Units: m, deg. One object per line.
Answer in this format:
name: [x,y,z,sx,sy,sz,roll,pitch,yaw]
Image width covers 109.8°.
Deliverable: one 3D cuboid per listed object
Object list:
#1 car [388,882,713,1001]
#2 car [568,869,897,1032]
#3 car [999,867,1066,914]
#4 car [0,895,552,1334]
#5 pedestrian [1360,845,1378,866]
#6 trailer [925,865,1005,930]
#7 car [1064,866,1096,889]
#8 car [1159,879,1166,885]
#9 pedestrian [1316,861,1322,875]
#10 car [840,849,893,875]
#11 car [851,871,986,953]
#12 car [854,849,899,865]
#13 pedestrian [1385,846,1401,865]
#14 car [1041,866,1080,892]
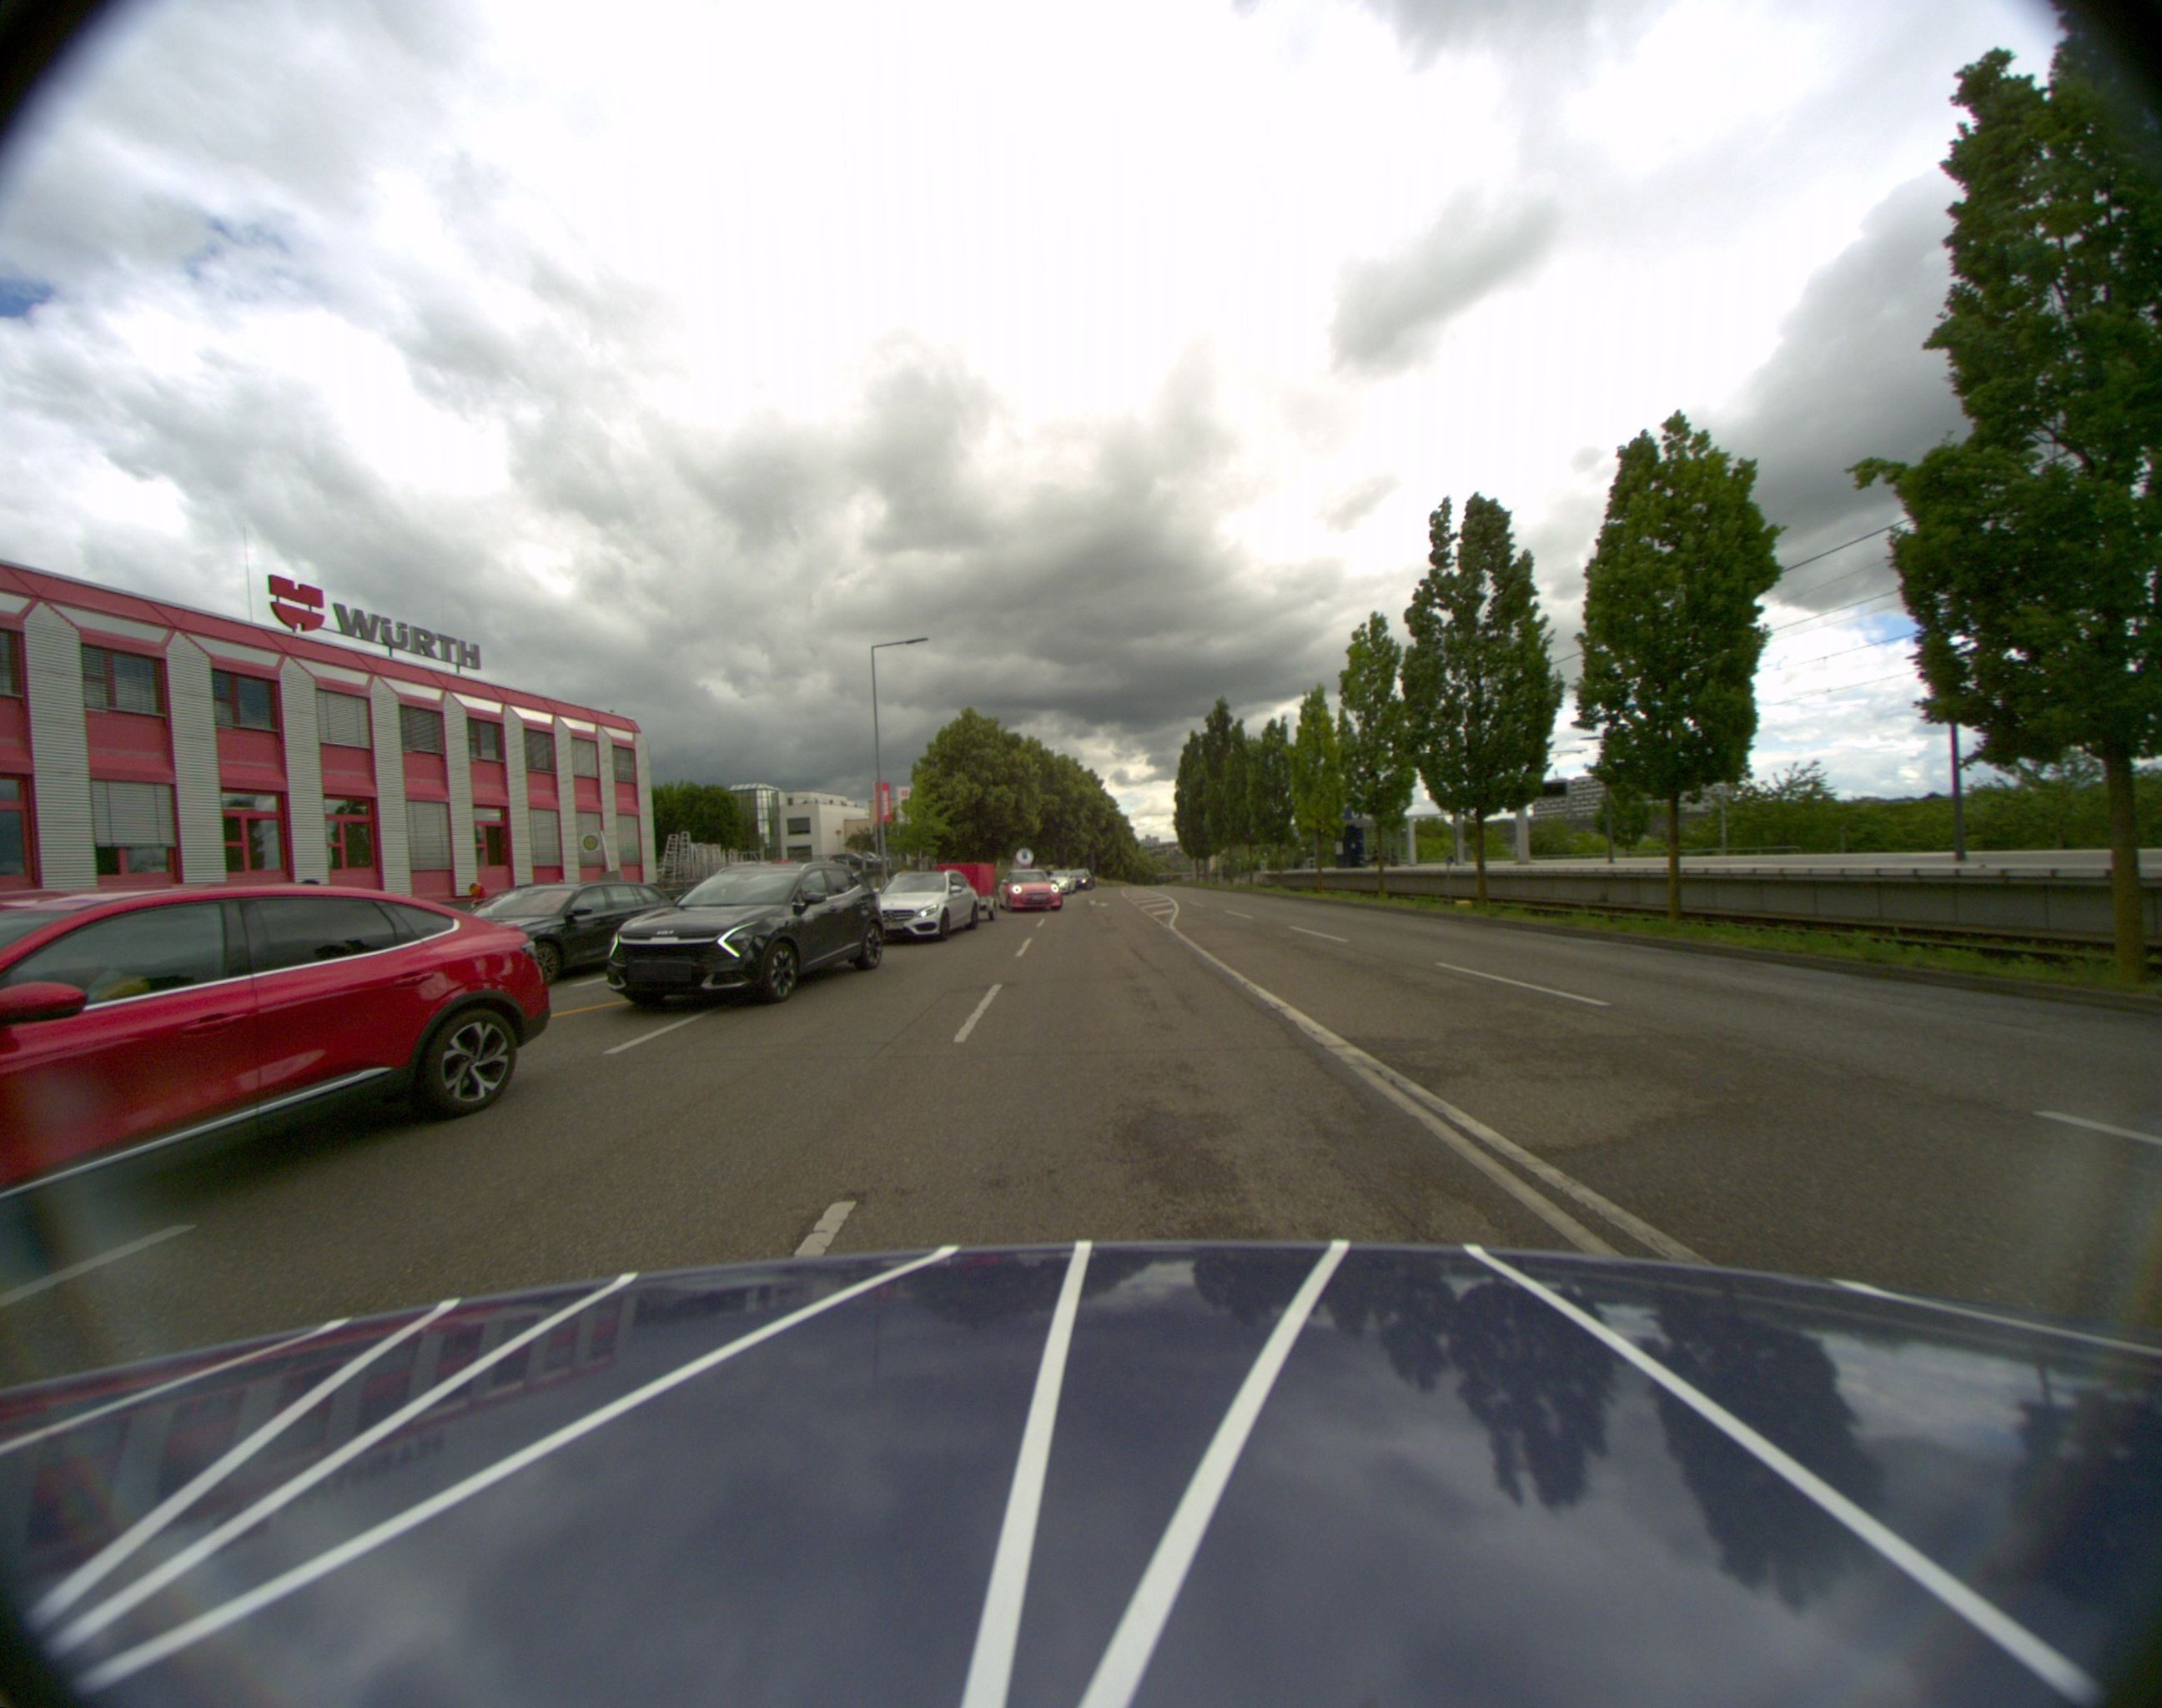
car: [-8.205,1.269,12.353,1.839,1.424,4.281,-2,-1,9]
car: [-4.160,1.058,10.052,1.848,1.552,4.407,-2,0,7]
car: [-1.755,1.202,26.345,1.724,1.448,3.693,-2,0,-12]
car: [-4.925,1.087,3.485,1.711,1.515,4.320,-2,0,4]
pedestrian: [16.430,0.077,43.332,0.763,1.192,0.665,-2,-1,0]
trailer: [-3.100,1.122,20.810,1.412,1.584,3.305,-2,-1,4]
car: [-0.033,1.591,52.234,1.805,1.439,4.002,-2,0,5]
car: [22.007,7.520,203.994,1.719,1.512,3.748,-2,-2,8]
pedestrian: [27.617,1.628,88.234,0.508,1.615,0.646,-2,-2,6]
car: [-17.717,0.660,62.807,3.762,1.946,1.645,-3,-2,10]
car: [-3.420,1.176,16.913,1.675,1.439,4.491,-2,0,5]
car: [-20.493,0.300,76.134,3.933,1.474,1.757,-2,0,10]
pedestrian: [17.366,0.084,42.298,0.608,1.072,0.470,-2,-2,0]
car: [-1.138,1.441,43.506,1.738,1.365,4.003,-2,-2,5]
